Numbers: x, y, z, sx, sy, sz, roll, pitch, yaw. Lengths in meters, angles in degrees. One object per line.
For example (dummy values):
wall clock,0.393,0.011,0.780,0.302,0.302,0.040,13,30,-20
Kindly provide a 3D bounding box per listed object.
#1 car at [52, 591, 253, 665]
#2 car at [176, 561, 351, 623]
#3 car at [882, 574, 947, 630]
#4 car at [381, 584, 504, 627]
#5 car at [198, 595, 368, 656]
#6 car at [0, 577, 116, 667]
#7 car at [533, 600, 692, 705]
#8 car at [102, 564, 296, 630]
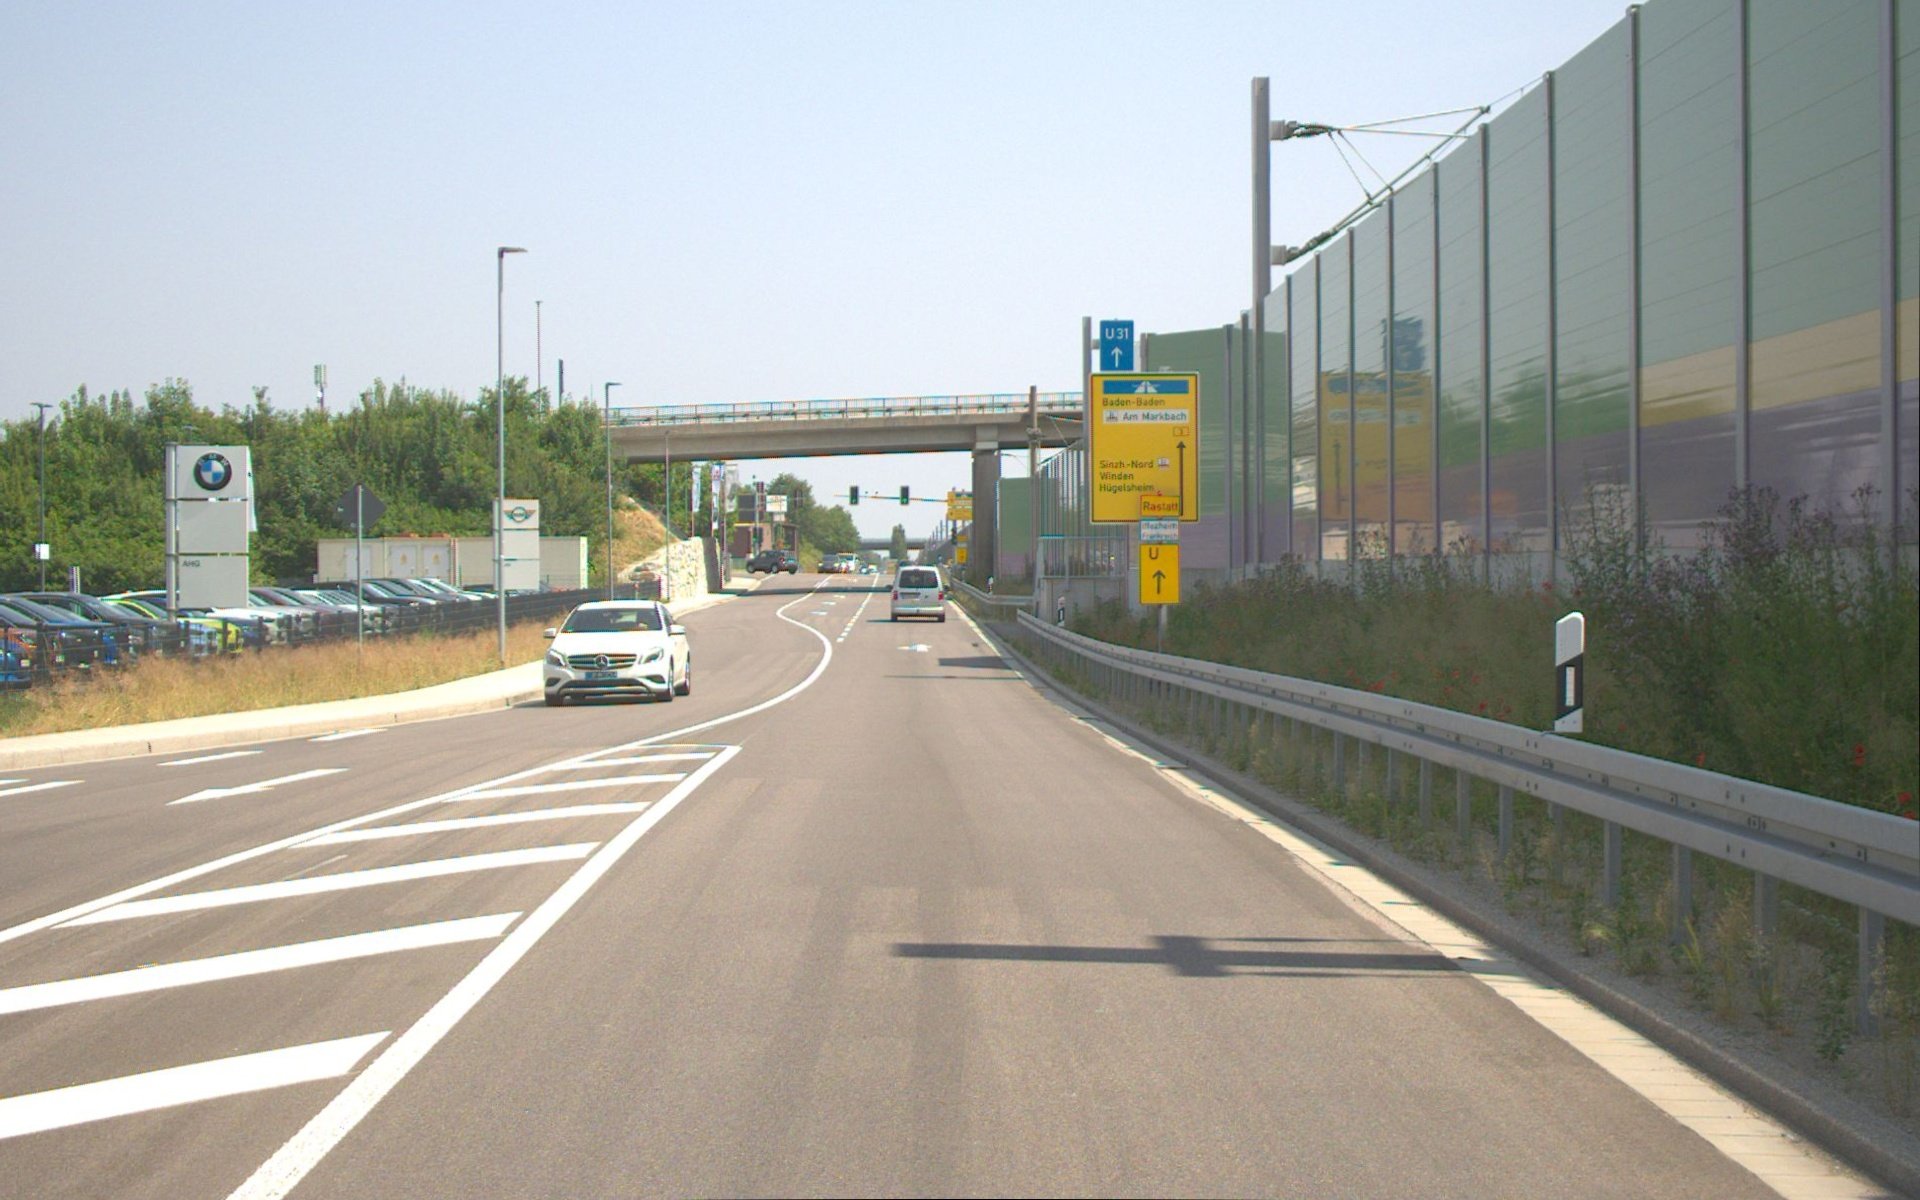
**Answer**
car,-17.782,0.600,75.776,3.987,1.529,1.815,-1,1,0
car,-18.054,-0.218,89.186,4.164,1.539,1.815,-1,1,0
car,-1.450,0.046,111.123,1.993,1.751,4.000,0,1,1
car,-18.591,0.194,123.639,4.164,1.461,1.815,-1,1,0
car,-18.042,0.669,91.691,4.164,1.539,1.815,-1,1,0
car,-17.096,0.387,60.615,3.986,1.529,1.815,-1,1,-2
car,-4.912,0.716,49.052,1.781,1.411,4.050,-1,0,1
car,-17.942,-0.077,81.202,4.164,1.461,1.815,-1,1,0
